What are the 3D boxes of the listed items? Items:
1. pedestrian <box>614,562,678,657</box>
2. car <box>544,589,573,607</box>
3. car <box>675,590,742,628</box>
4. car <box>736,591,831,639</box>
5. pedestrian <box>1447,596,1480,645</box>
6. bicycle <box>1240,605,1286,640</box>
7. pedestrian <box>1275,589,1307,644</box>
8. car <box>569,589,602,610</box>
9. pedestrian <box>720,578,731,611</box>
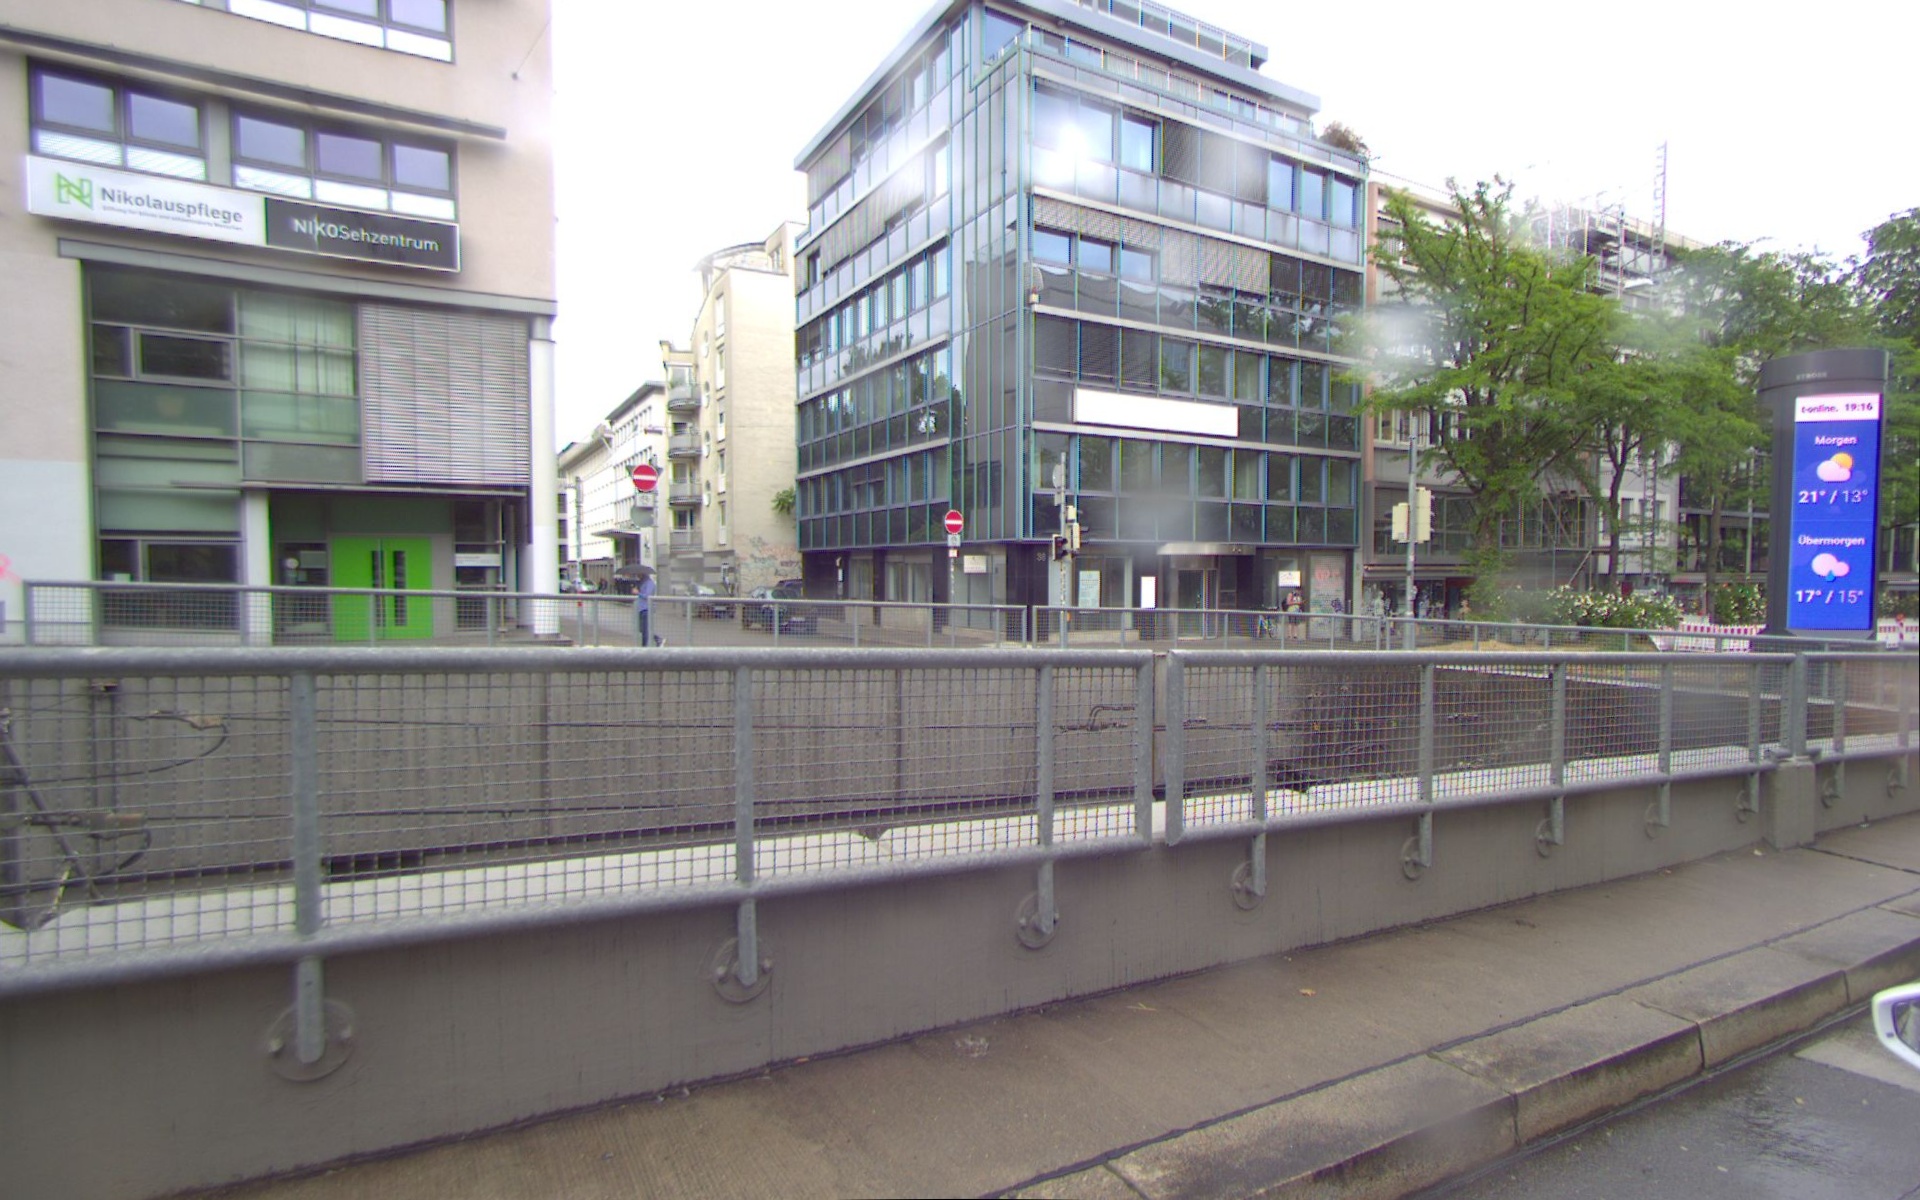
[{"bbox_3d":[-6.346,0.179,20.264,1.047,1.863,0.853,1,2,-30],"label":"pedestrian"},{"bbox_3d":[-35.020,-0.179,87.604,1.777,1.578,3.967,1,0,-30],"label":"car"},{"bbox_3d":[-11.099,0.355,44.117,1.777,1.578,3.966,1,0,-31],"label":"car"},{"bbox_3d":[-6.233,0.497,35.179,1.977,1.578,3.966,1,0,-31],"label":"car"},{"bbox_3d":[18.528,0.756,36.986,0.867,1.765,0.689,1,2,-32],"label":"pedestrian"},{"bbox_3d":[9.877,0.737,32.731,1.544,1.100,0.444,1,1,-27],"label":"bicycle"},{"bbox_3d":[10.956,0.545,33.239,0.688,1.765,0.691,1,2,-36],"label":"pedestrian"},{"bbox_3d":[-29.407,-0.046,78.854,1.777,1.578,3.967,1,0,-30],"label":"car"},{"bbox_3d":[-12.163,-0.279,52.116,0.443,1.664,0.326,1,2,-35],"label":"pedestrian"}]
